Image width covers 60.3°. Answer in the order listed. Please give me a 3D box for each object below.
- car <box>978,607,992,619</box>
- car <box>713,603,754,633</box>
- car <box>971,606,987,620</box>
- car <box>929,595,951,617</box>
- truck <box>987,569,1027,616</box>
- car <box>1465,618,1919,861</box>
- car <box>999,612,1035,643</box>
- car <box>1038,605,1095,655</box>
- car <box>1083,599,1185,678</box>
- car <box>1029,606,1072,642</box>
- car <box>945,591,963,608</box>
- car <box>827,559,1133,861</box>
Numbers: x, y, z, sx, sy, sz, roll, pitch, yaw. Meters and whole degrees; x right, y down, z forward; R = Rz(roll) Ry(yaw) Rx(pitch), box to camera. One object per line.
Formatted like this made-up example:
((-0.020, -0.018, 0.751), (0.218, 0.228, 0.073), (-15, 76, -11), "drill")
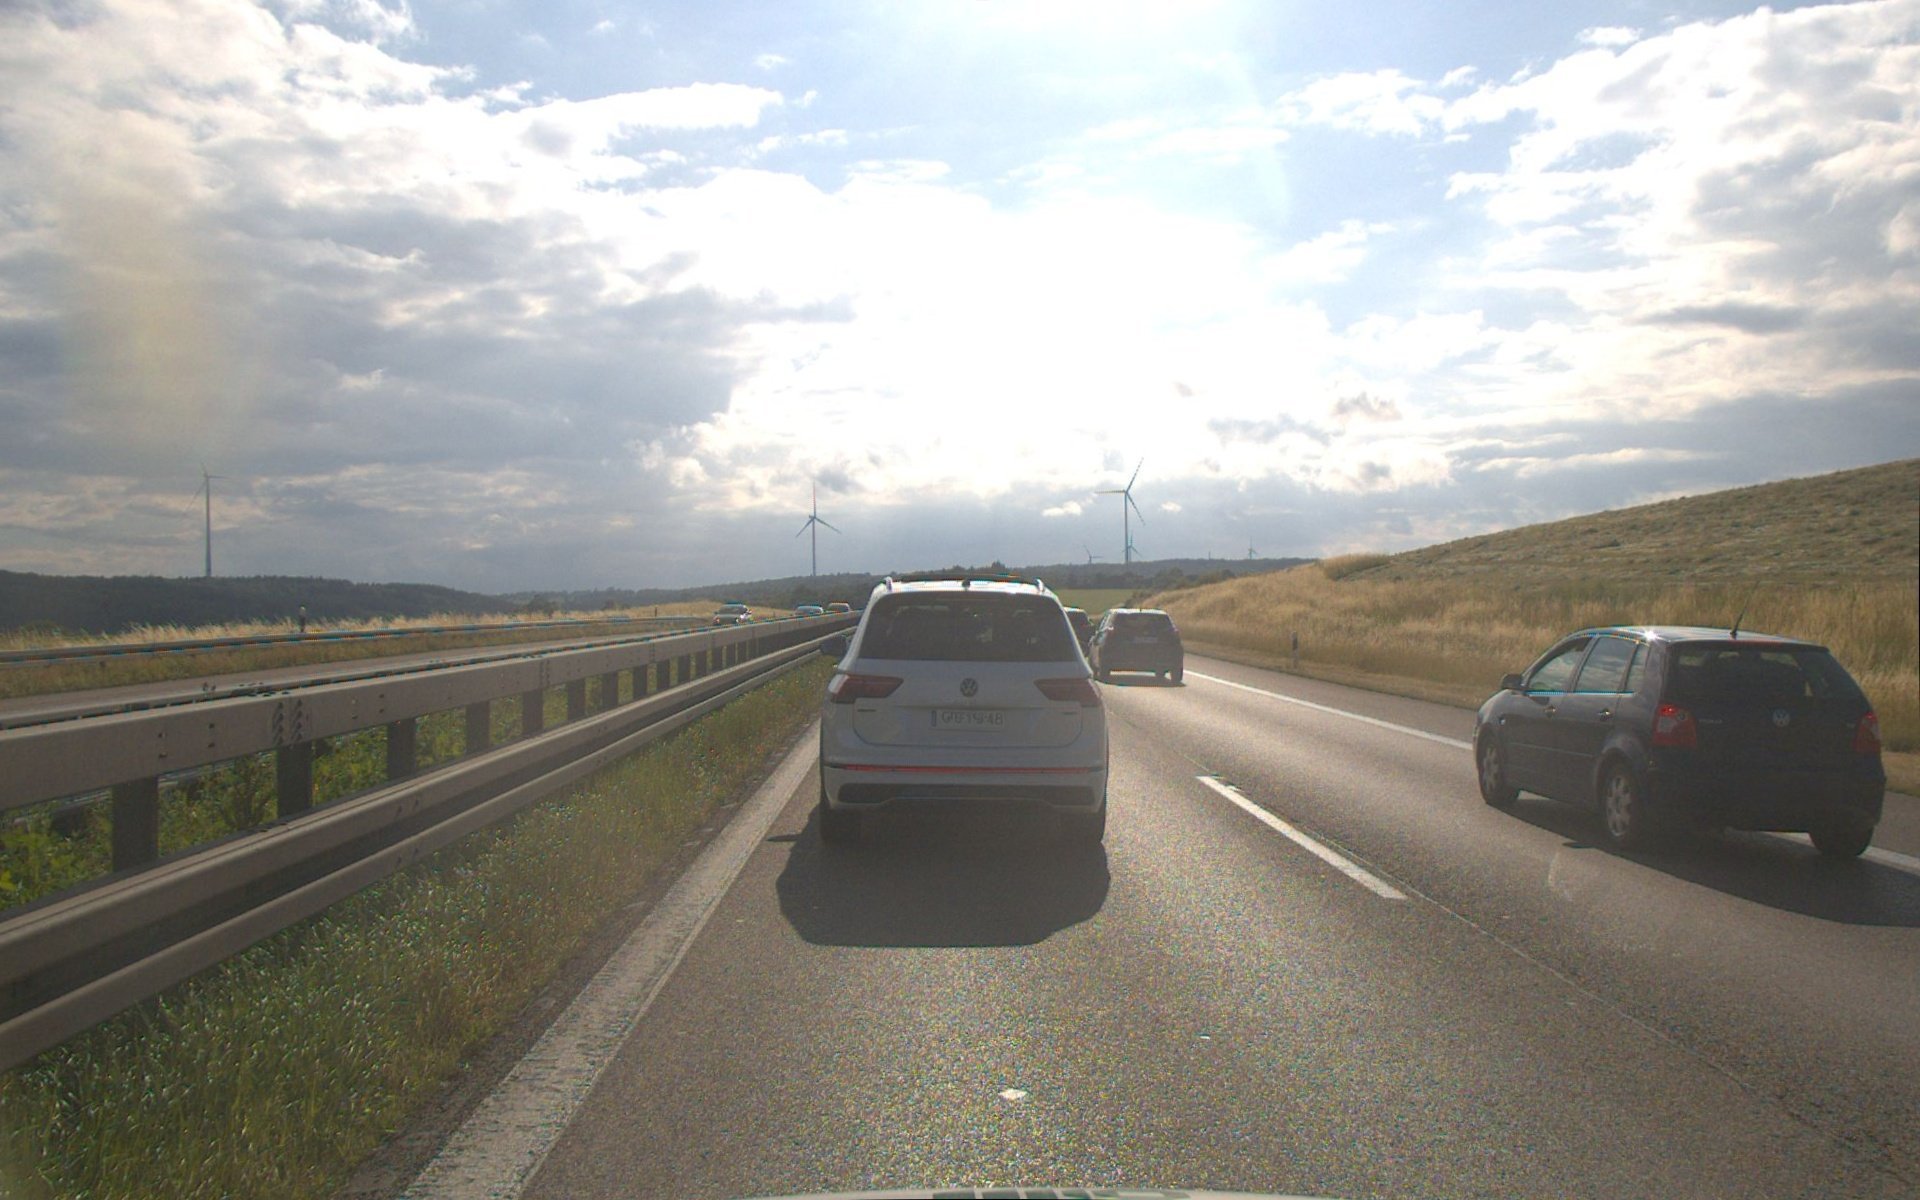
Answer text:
((3.163, 1.687, 211.677), (1.669, 1.573, 3.999), (1, -1, -1), "car")
((-11.916, 0.947, 87.239), (1.714, 1.505, 4.478), (1, -1, -2), "car")
((2.193, 1.488, 190.238), (1.669, 1.573, 3.999), (1, -1, -1), "car")
((-1.529, 0.463, 127.066), (1.669, 1.679, 3.999), (1, -1, -1), "car")
((3.816, -0.625, 136.368), (3.118, 3.656, 11.131), (1, 0, 1), "truck")
((5.025, 0.869, 11.851), (1.573, 1.445, 3.670), (1, -1, -2), "car")
((2.987, 1.426, 87.182), (1.669, 1.573, 3.999), (1, -1, -1), "car")
((3.715, 1.051, 58.357), (1.669, 1.679, 3.999), (1, -1, -1), "car")
((3.662, 0.790, 35.326), (1.669, 1.573, 3.999), (1, -1, -1), "car")
((4.149, 1.105, 76.489), (1.669, 1.573, 3.999), (1, -1, -1), "car")
((-0.592, -0.001, 156.979), (1.669, 1.573, 3.999), (1, -1, -1), "car")
((0.083, 0.649, 11.484), (1.734, 1.705, 3.999), (1, -1, -1), "car")
